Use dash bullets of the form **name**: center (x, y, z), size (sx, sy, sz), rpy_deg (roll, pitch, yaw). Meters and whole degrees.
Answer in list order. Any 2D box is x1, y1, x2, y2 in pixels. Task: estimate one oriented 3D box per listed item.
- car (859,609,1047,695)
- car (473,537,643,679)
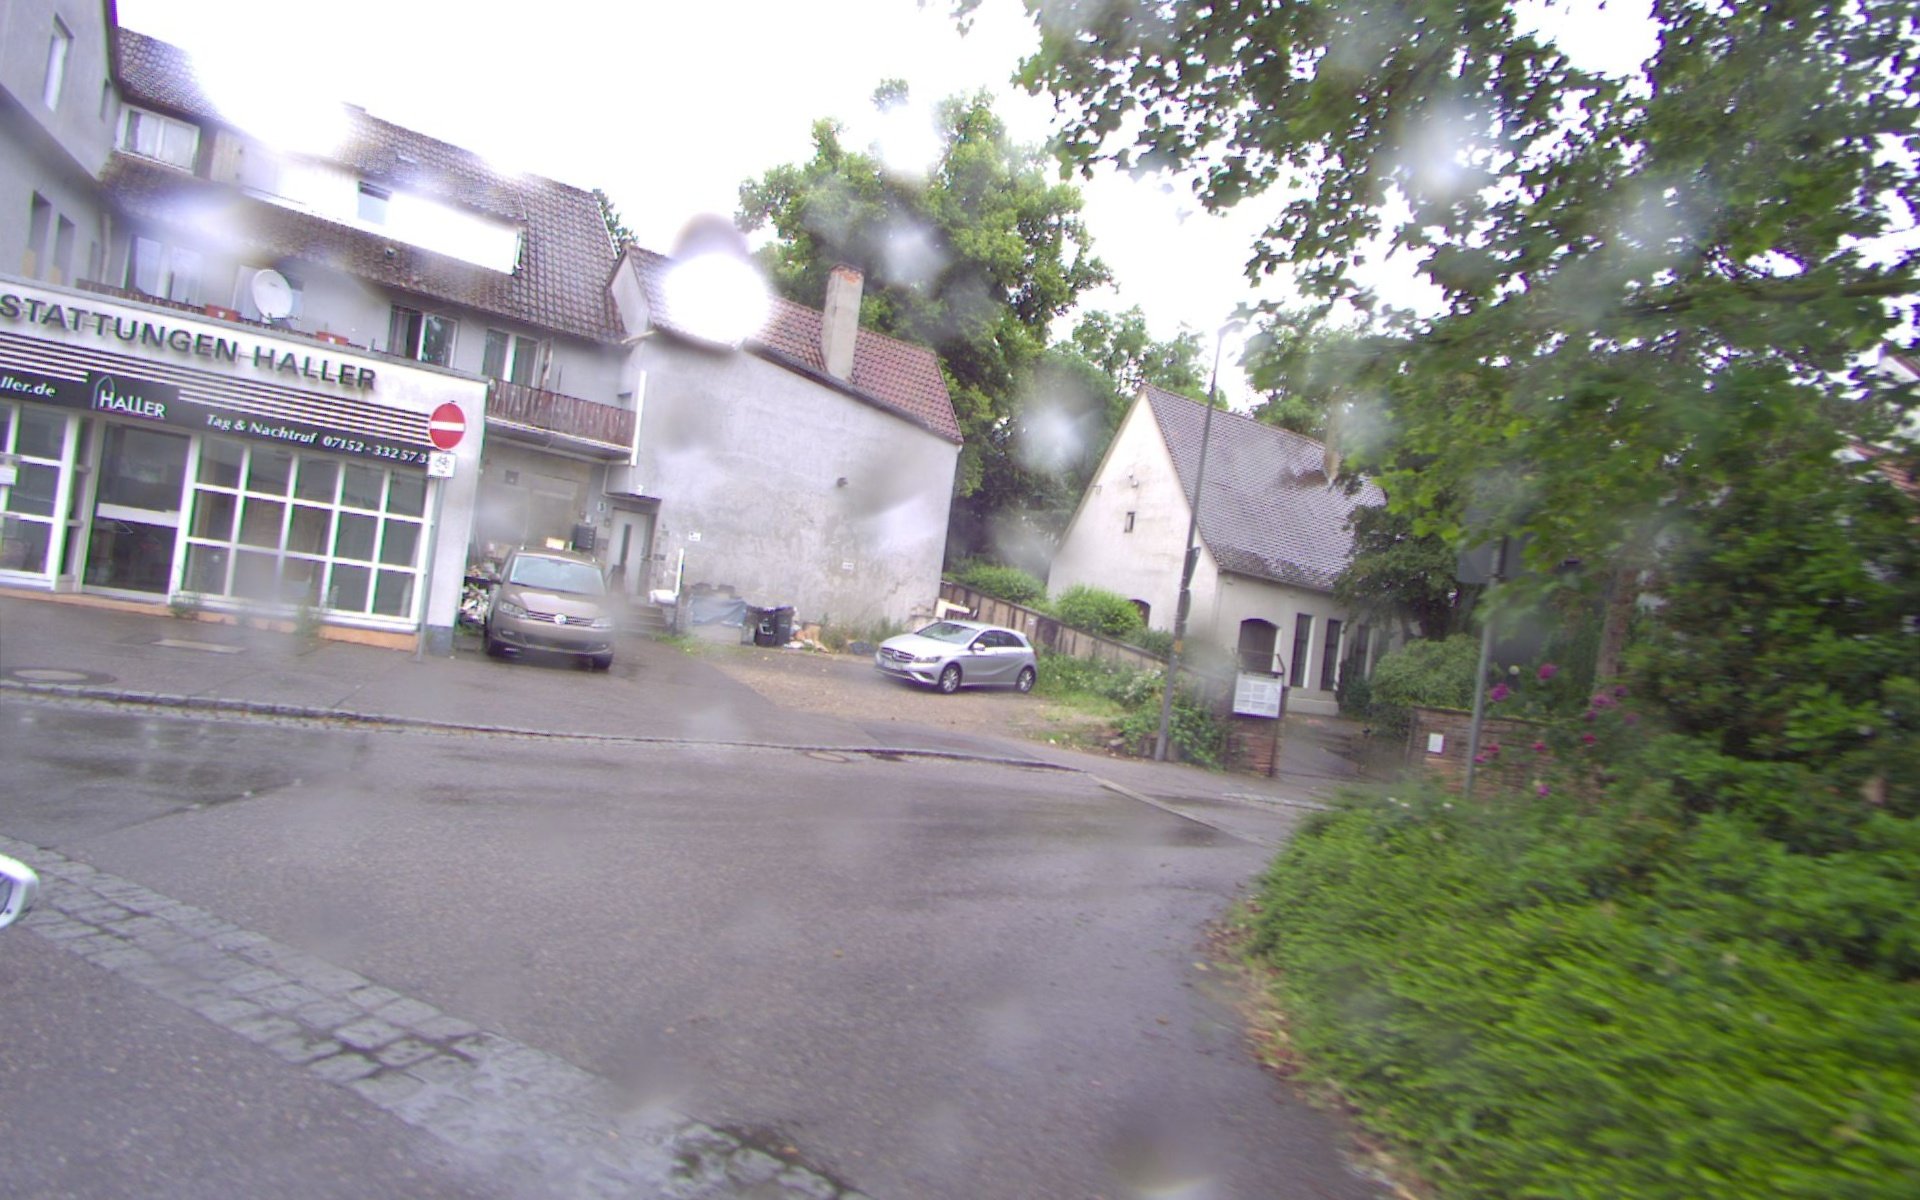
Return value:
- **car**: center (-0.058, 1.165, 21.582), size (1.716, 1.406, 4.023), rpy_deg (11, 2, 39)
- **car**: center (-6.795, 0.019, 16.674), size (1.909, 1.749, 4.632), rpy_deg (9, 0, -29)
